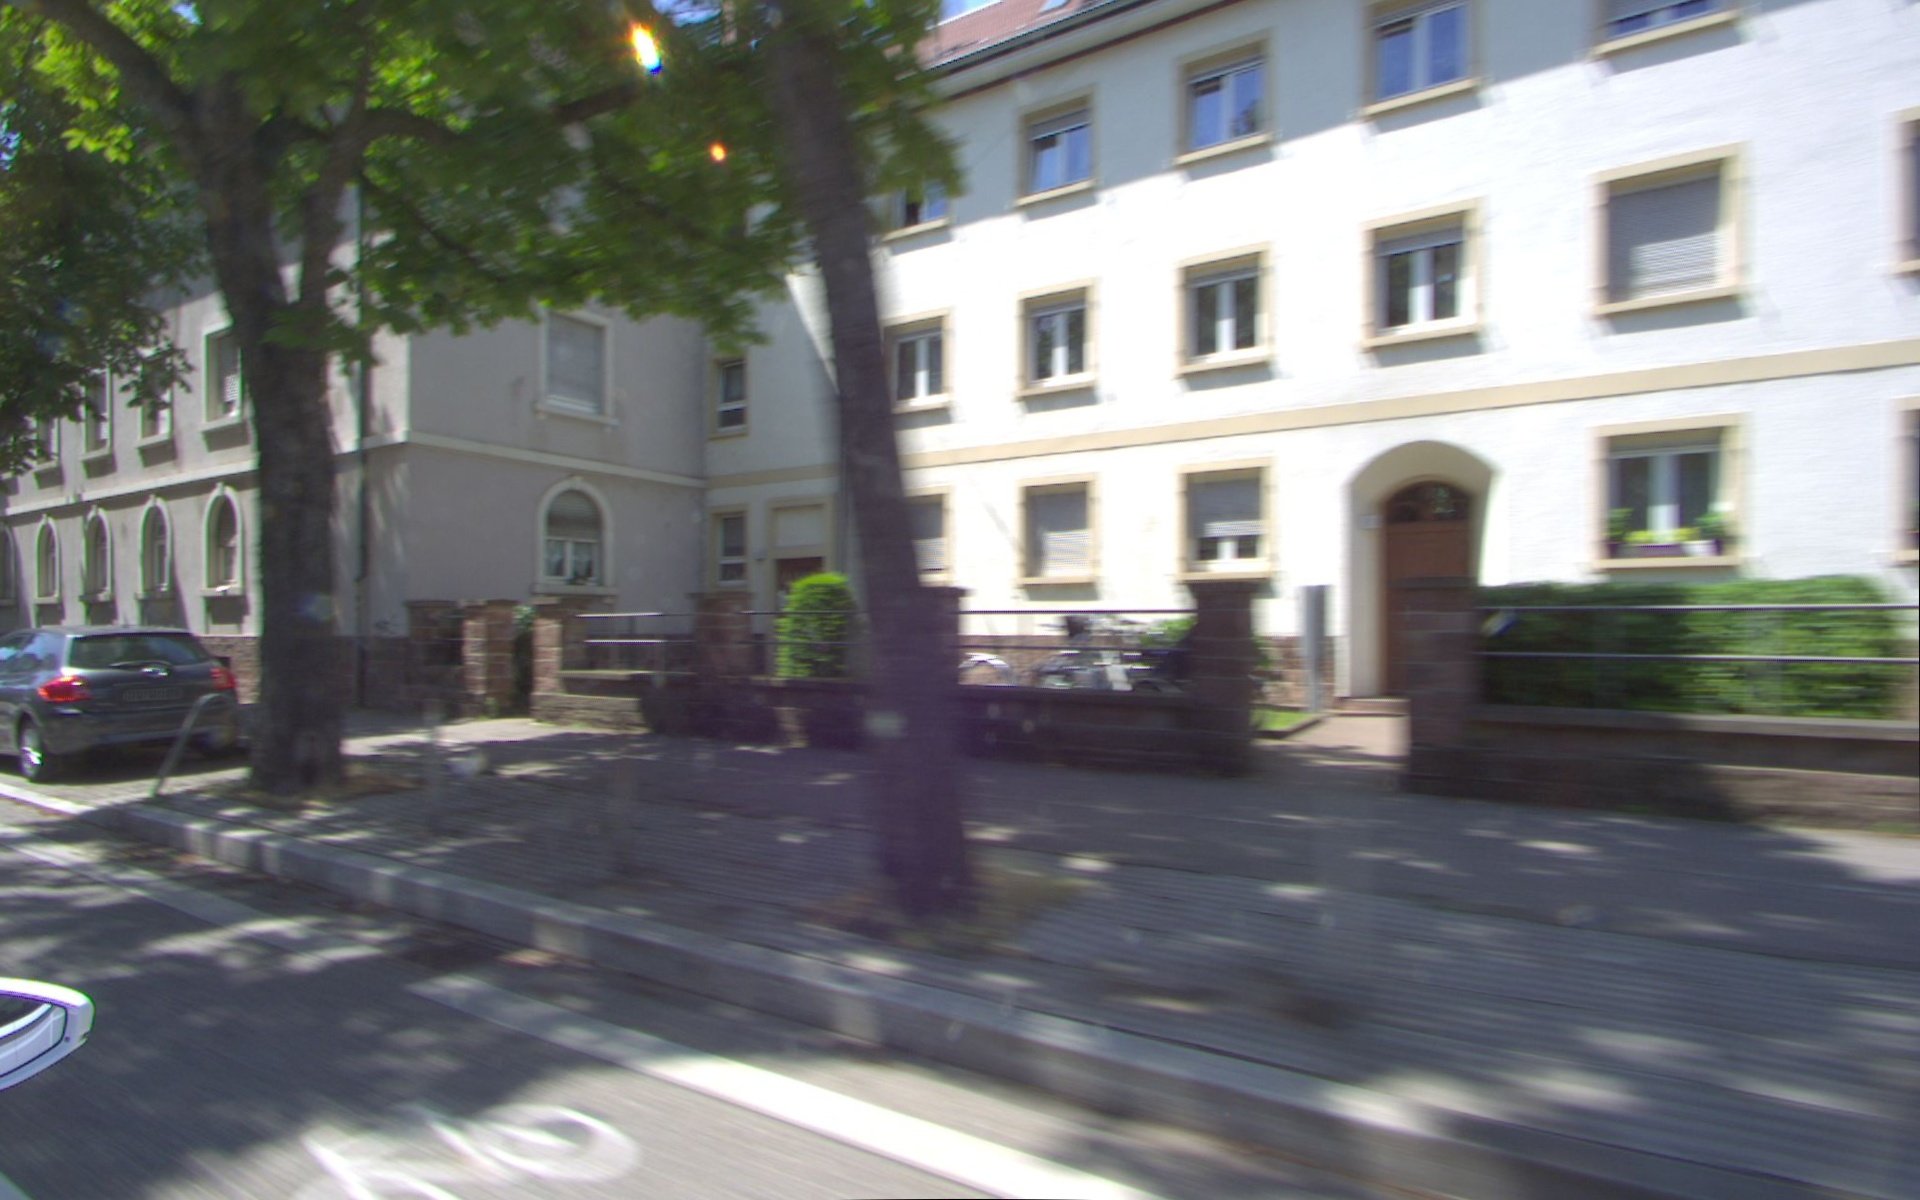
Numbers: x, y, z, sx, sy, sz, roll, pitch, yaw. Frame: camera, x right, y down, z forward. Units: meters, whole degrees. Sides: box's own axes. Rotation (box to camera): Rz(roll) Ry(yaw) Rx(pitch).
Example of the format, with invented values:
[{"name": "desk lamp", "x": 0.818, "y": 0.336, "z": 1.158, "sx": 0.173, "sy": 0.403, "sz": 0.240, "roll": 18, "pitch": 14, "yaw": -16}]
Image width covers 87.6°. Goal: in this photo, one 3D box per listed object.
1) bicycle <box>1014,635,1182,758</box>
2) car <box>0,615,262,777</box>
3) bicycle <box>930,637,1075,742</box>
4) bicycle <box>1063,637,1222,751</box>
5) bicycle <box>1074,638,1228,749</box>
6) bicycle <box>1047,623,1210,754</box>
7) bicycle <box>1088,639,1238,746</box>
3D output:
[{"name": "bicycle", "x": 1.294, "y": 0.875, "z": 9.509, "sx": 1.542, "sy": 1.070, "sz": 0.458, "roll": 0, "pitch": 0, "yaw": 33}, {"name": "car", "x": -9.931, "y": 0.936, "z": 11.350, "sx": 4.242, "sy": 1.521, "sz": 1.771, "roll": 0, "pitch": 0, "yaw": 32}, {"name": "bicycle", "x": 0.457, "y": 0.956, "z": 10.982, "sx": 1.539, "sy": 1.070, "sz": 0.459, "roll": 0, "pitch": 0, "yaw": 26}, {"name": "bicycle", "x": 1.844, "y": 0.927, "z": 10.227, "sx": 1.542, "sy": 1.070, "sz": 0.458, "roll": 0, "pitch": 0, "yaw": 33}, {"name": "bicycle", "x": 1.988, "y": 0.948, "z": 10.528, "sx": 1.542, "sy": 1.070, "sz": 0.458, "roll": 0, "pitch": 0, "yaw": 33}, {"name": "bicycle", "x": 1.649, "y": 0.836, "z": 9.904, "sx": 1.542, "sy": 1.207, "sz": 0.458, "roll": 0, "pitch": 0, "yaw": 33}, {"name": "bicycle", "x": 2.181, "y": 0.971, "z": 10.859, "sx": 1.542, "sy": 1.070, "sz": 0.458, "roll": 0, "pitch": 0, "yaw": 33}]
